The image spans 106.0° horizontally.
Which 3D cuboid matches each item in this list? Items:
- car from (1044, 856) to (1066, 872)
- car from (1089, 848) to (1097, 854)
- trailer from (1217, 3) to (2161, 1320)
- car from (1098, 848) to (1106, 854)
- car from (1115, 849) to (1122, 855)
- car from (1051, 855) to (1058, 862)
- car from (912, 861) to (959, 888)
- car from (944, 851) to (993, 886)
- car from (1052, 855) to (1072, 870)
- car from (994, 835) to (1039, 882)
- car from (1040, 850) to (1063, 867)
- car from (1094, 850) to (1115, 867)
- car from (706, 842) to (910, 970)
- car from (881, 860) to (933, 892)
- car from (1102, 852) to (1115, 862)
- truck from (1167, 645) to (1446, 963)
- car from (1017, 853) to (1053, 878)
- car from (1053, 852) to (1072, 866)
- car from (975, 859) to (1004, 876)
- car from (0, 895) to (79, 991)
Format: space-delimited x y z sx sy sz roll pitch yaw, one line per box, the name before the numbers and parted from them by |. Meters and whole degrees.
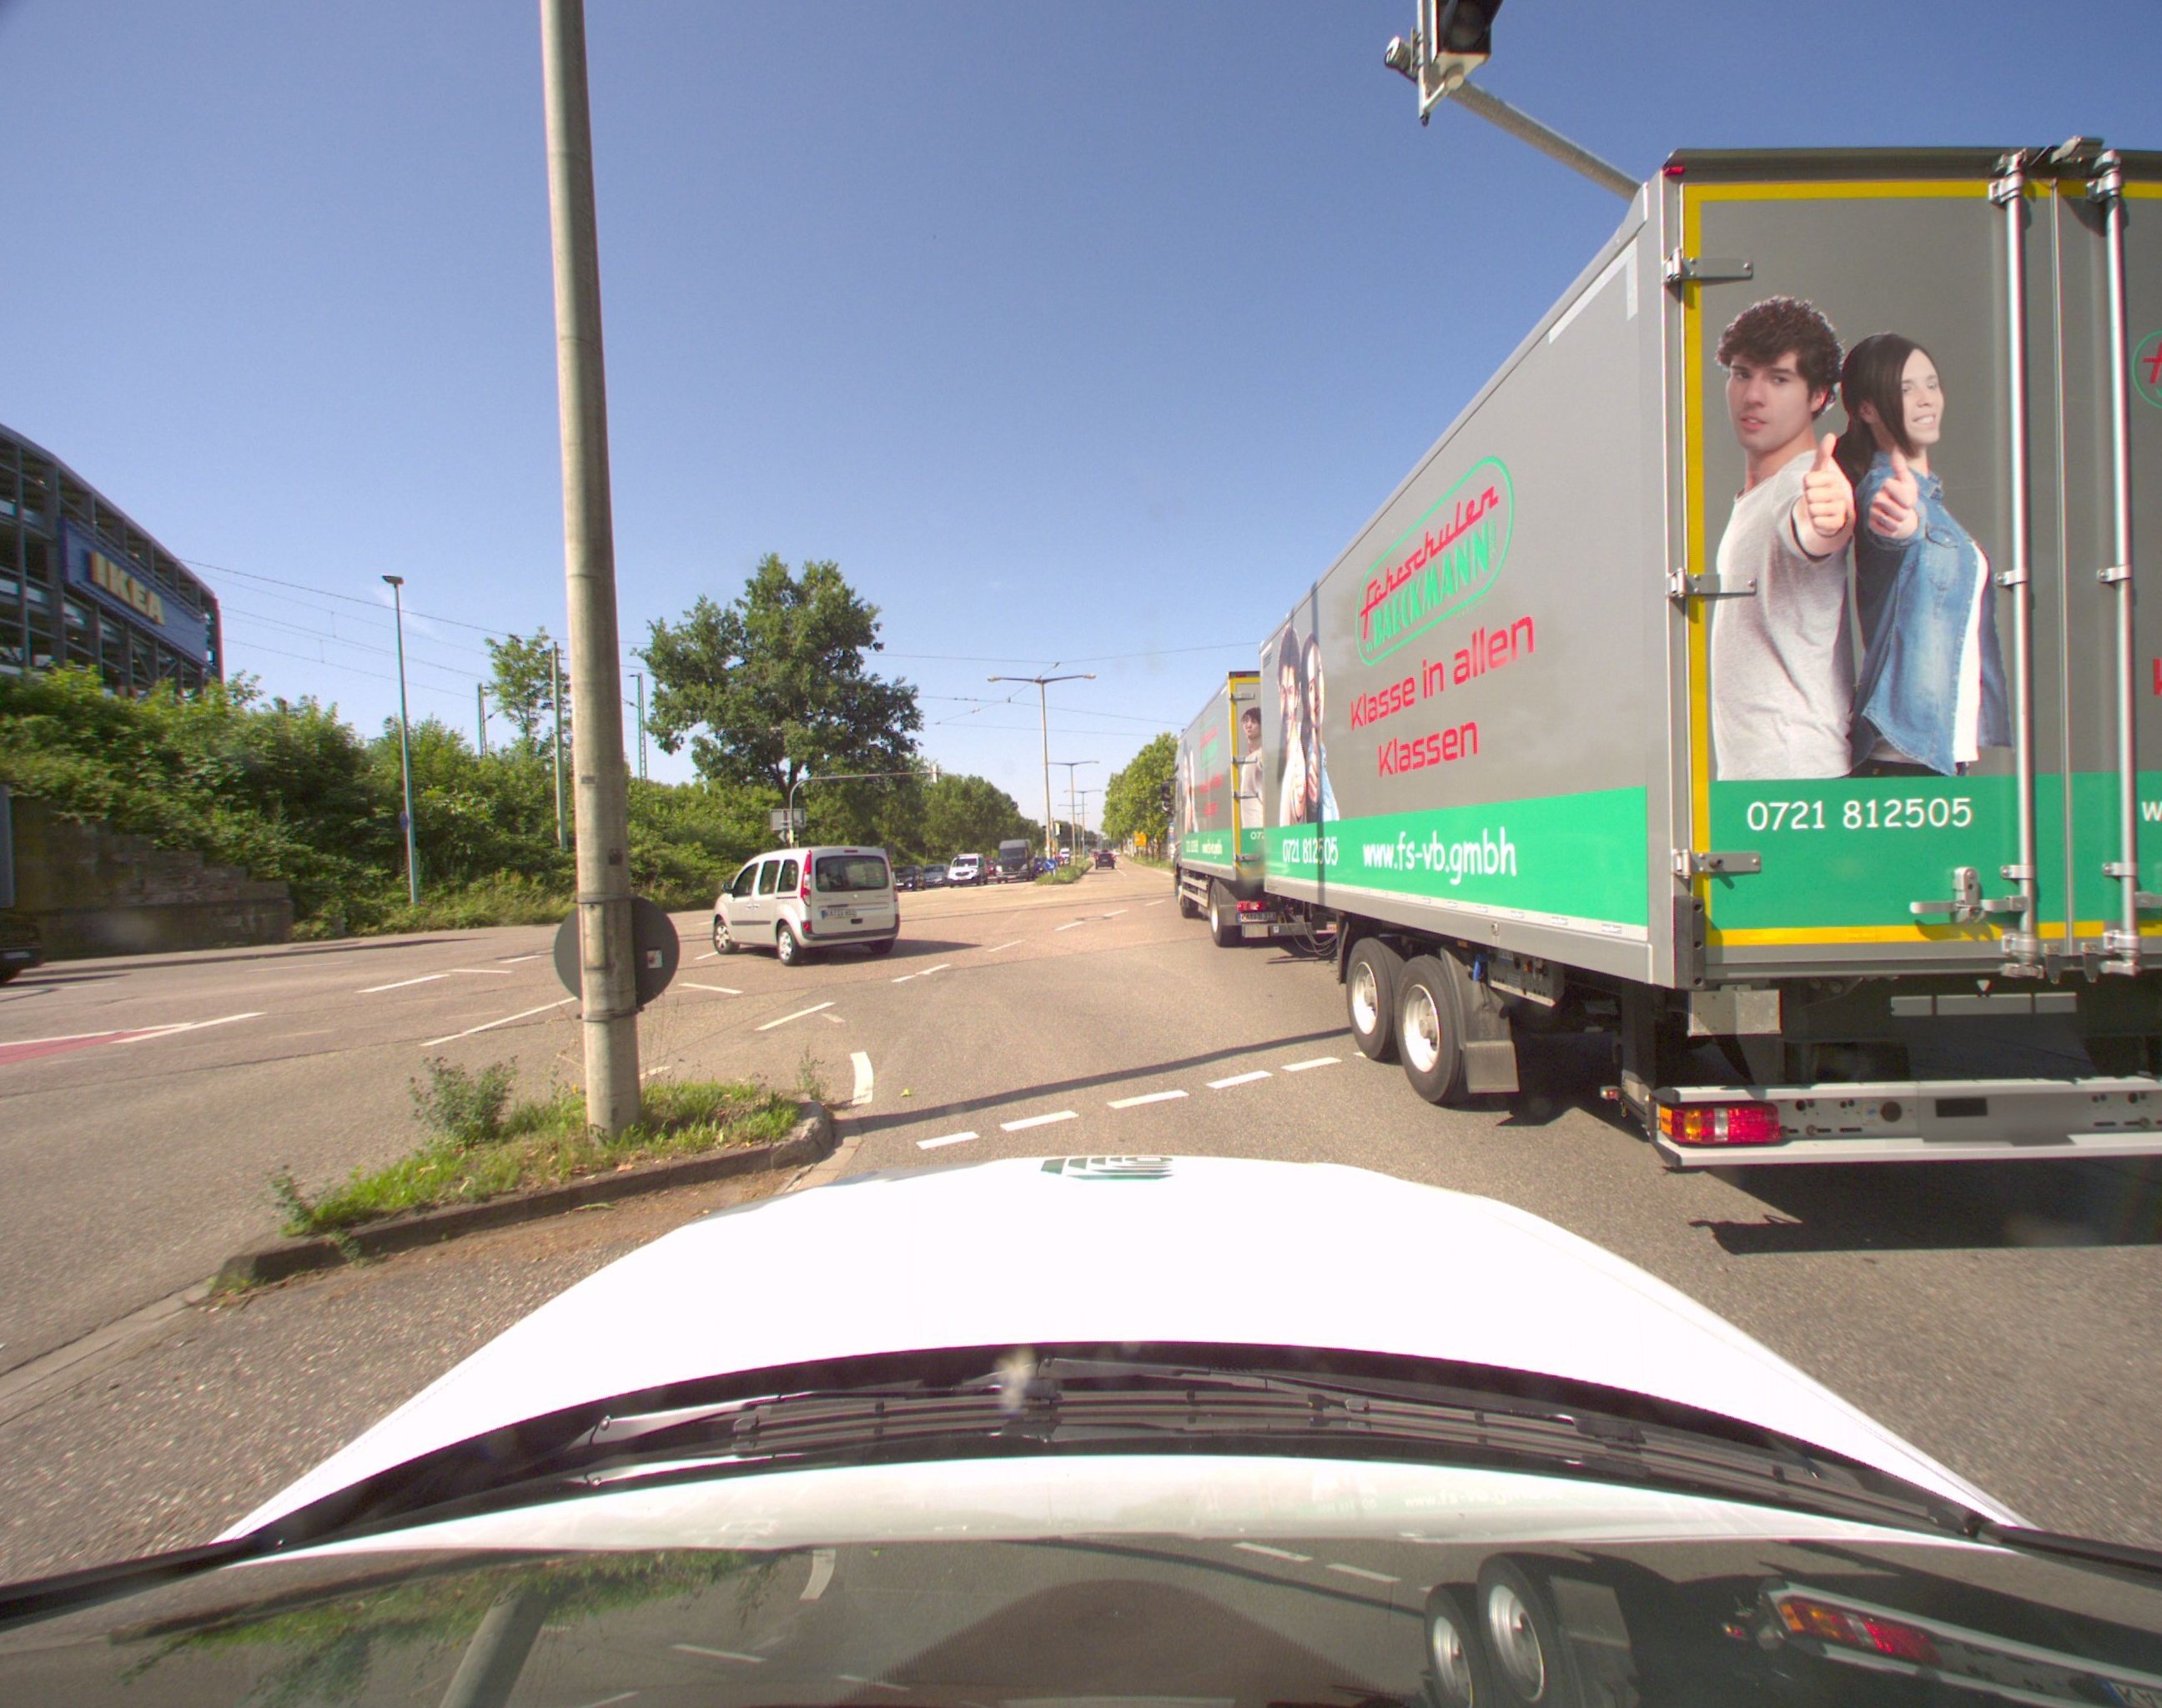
car | -2.667 1.010 84.260 1.985 1.585 4.003 -1 0 3
car | 3.174 -0.796 213.522 1.985 1.585 4.459 -1 0 3
trailer | 3.047 -0.589 6.299 2.726 3.877 7.737 -2 0 1
car | 5.513 -0.840 213.831 1.985 1.585 4.459 -1 0 3
car | 10.300 -0.611 222.053 1.985 1.585 4.459 -1 0 3
car | -7.627 1.254 234.860 1.881 2.014 4.001 -1 0 2
car | -9.297 1.294 52.417 1.986 1.540 4.238 -3 -1 2
car | -6.630 0.852 48.695 1.986 1.870 4.776 -3 -1 2
car | -2.144 0.965 92.740 1.986 1.640 4.001 -1 0 2
car | -3.846 0.294 49.689 1.986 2.607 5.136 -3 -1 2
car | -2.877 0.462 79.909 1.986 1.640 4.001 -1 0 2
car | 2.341 0.434 81.723 1.985 1.585 4.459 -1 0 3
car | -4.707 0.770 13.740 1.802 1.838 3.951 0 -1 -43
car | -9.667 1.194 45.549 1.904 1.641 3.739 -3 -1 2
car | 4.495 0.522 134.045 1.985 1.585 4.459 -1 0 3
truck | 3.278 -0.603 14.575 2.719 3.889 8.726 -2 0 2
car | -3.189 0.803 57.070 1.986 1.585 4.003 -4 -1 3
car | -2.247 0.583 99.991 1.986 1.640 4.001 -1 0 2
car | -8.632 1.255 77.037 1.985 1.585 4.459 -1 0 3
car | -21.607 1.748 14.527 4.229 1.662 1.924 -3 0 -20
